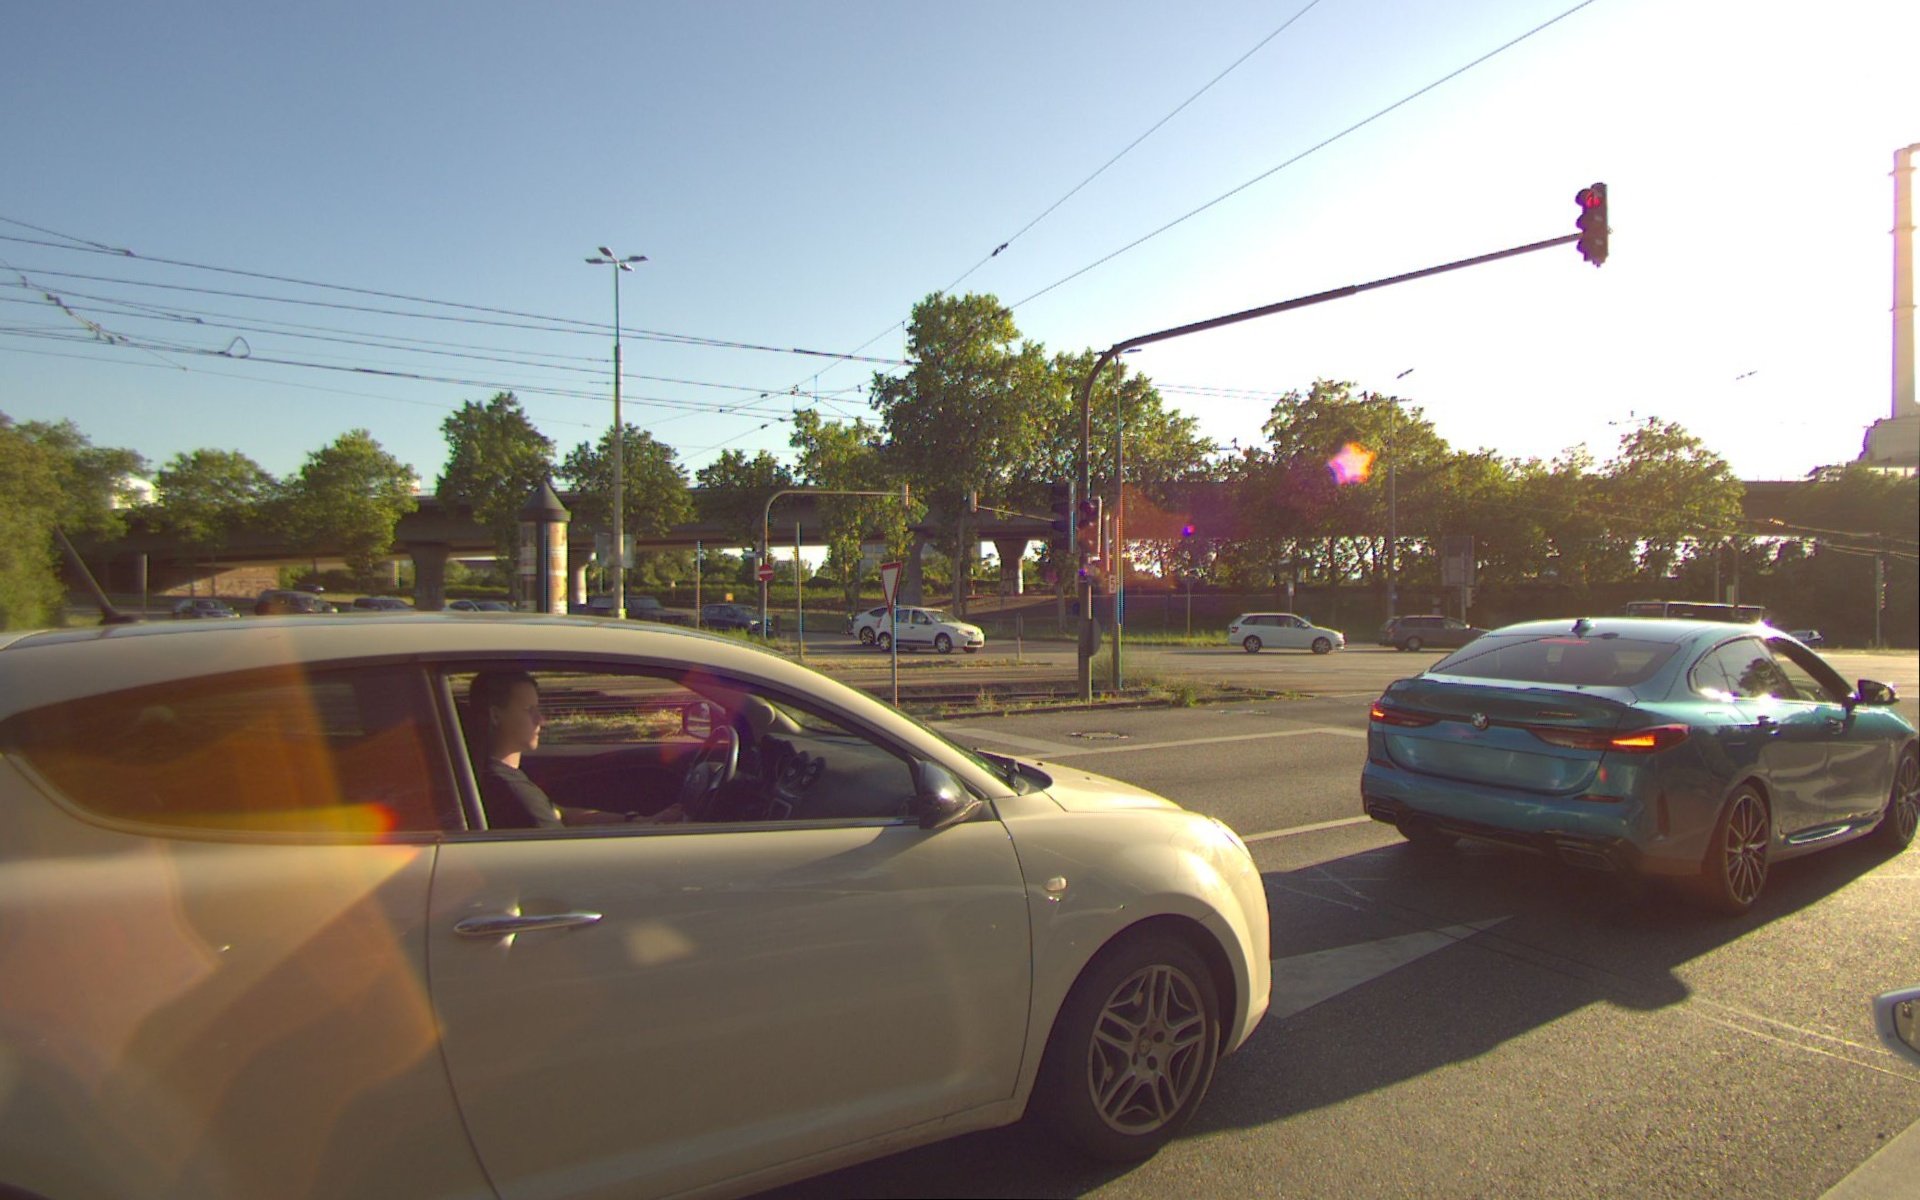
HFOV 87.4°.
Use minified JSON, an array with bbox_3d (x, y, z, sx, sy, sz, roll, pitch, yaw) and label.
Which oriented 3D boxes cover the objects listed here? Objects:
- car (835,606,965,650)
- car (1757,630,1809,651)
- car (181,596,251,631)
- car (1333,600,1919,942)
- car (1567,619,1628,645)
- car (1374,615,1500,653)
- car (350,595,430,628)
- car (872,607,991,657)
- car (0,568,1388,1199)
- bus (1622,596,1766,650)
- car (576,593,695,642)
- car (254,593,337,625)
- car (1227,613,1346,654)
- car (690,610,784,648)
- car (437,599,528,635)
[{"bbox_3d":[-2.428,1.056,39.804,5.280,1.596,1.734,0,0,36],"label":"car"},{"bbox_3d":[59.175,2.866,72.198,3.960,1.438,1.599,1,0,-30],"label":"car"},{"bbox_3d":[-38.493,0.683,51.925,4.681,1.701,1.747,1,0,38],"label":"car"},{"bbox_3d":[4.347,0.775,6.235,4.162,1.485,1.704,1,-1,-33],"label":"car"},{"bbox_3d":[38.347,1.904,60.428,3.965,1.532,1.597,1,0,-33],"label":"car"},{"bbox_3d":[19.413,1.366,41.068,4.354,1.423,1.672,1,0,10],"label":"car"},{"bbox_3d":[-29.987,0.611,52.853,4.209,1.653,1.691,0,0,28],"label":"car"},{"bbox_3d":[-1.012,1.045,34.472,3.937,1.596,1.687,0,0,38],"label":"car"},{"bbox_3d":[-0.772,0.741,2.820,3.956,1.525,1.727,1,-1,-33],"label":"car"},{"bbox_3d":[48.564,1.620,66.281,12.760,3.171,2.533,2,-2,-29],"label":"bus"},{"bbox_3d":[-13.968,0.727,43.190,4.853,2.017,2.034,0,0,28],"label":"car"},{"bbox_3d":[-37.611,0.500,56.859,4.327,1.701,1.693,1,0,20],"label":"car"},{"bbox_3d":[12.144,1.223,37.496,4.113,1.423,1.671,1,0,18],"label":"car"},{"bbox_3d":[-9.989,1.264,44.924,4.176,1.596,1.689,0,0,33],"label":"car"},{"bbox_3d":[-23.328,0.785,49.035,4.683,1.596,1.690,1,1,31],"label":"car"}]
